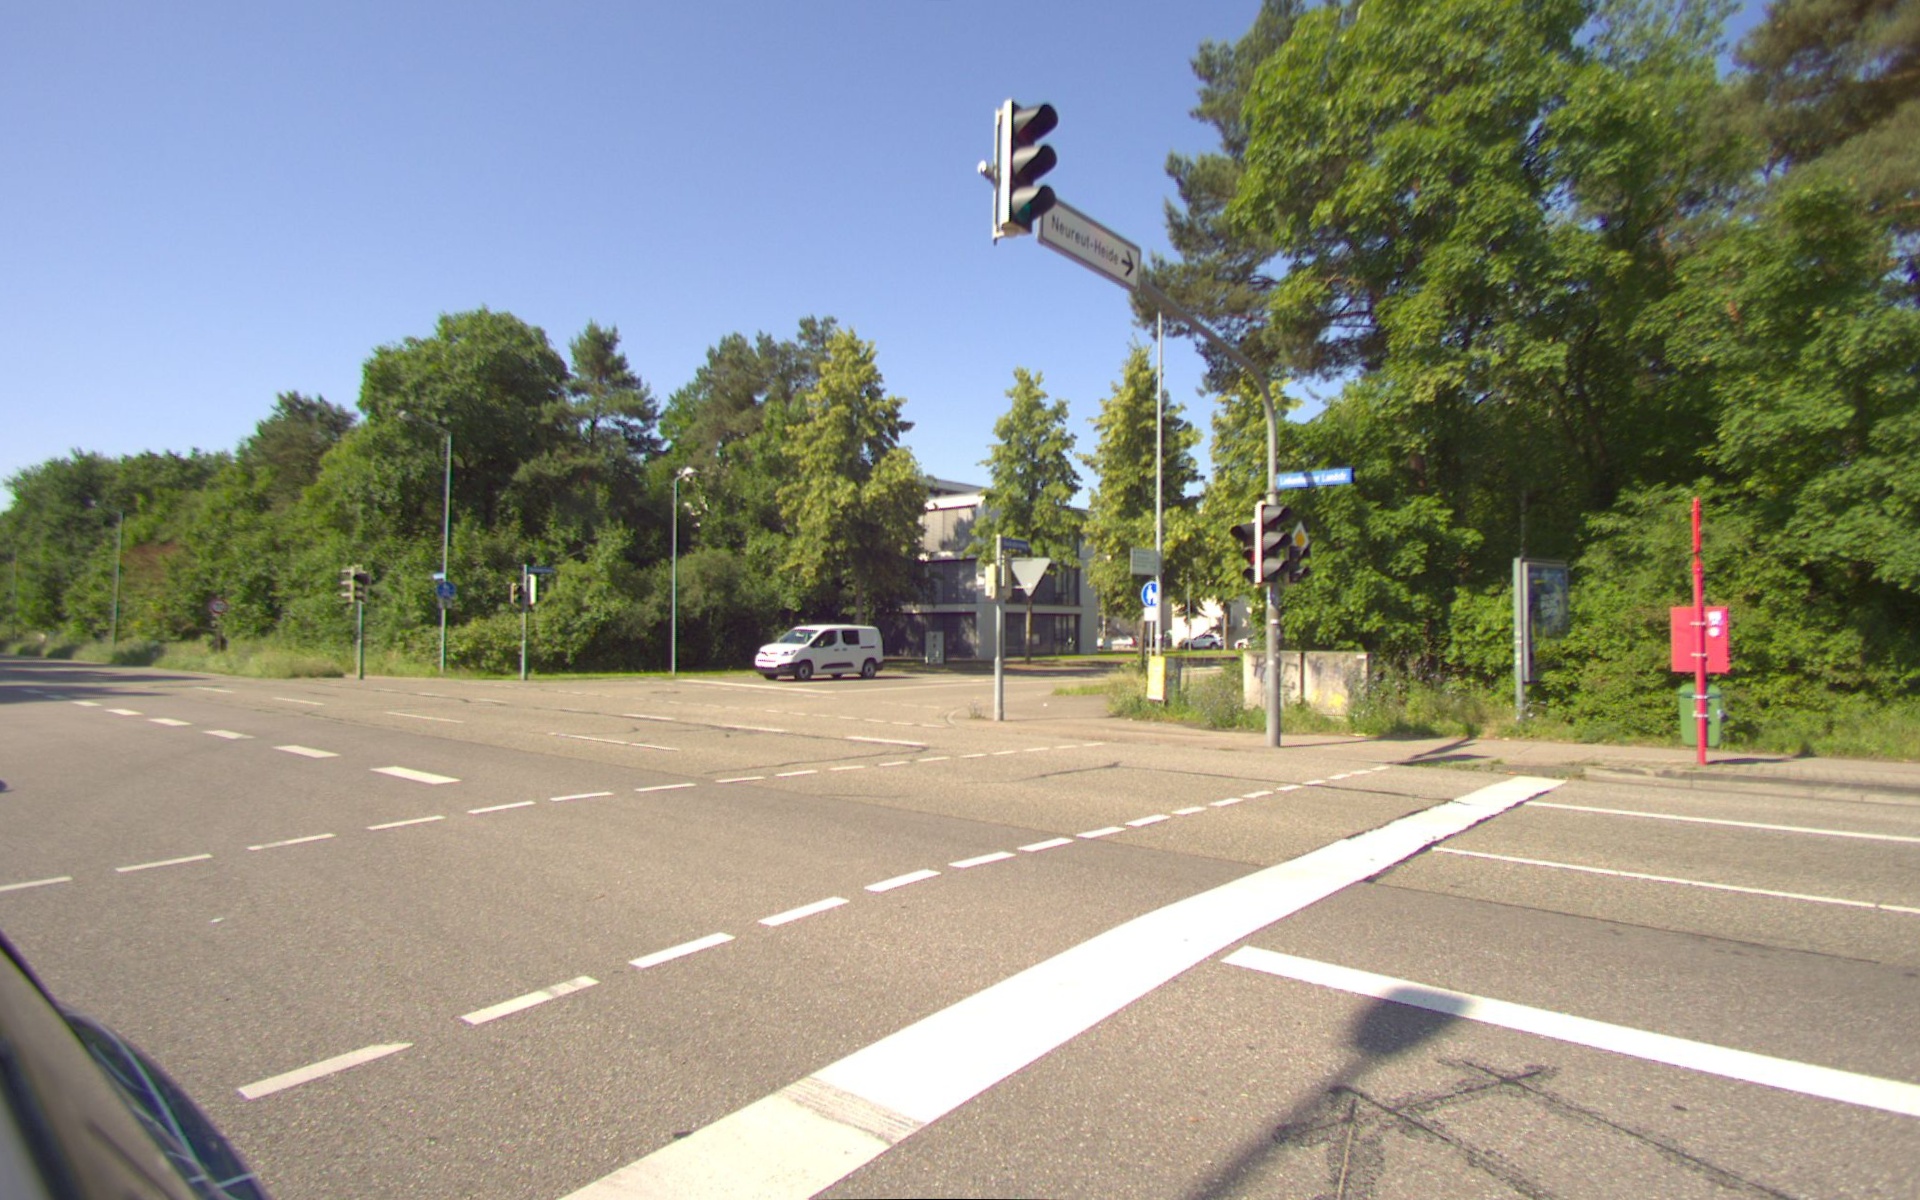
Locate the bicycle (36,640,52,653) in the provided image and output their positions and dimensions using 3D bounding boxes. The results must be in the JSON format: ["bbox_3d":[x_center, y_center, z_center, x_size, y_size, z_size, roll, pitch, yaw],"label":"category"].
[{"bbox_3d":[-67.060,3.409,74.064,2.137,0.965,0.598,-2,-3,41],"label":"bicycle"}]

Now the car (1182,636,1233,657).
[{"bbox_3d":[22.471,4.212,91.906,3.994,1.741,1.975,-1,0,38],"label":"car"}]

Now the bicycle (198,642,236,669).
[{"bbox_3d":[-33.164,2.474,45.160,2.369,1.172,0.725,-2,-2,38],"label":"bicycle"}]

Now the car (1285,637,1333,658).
[{"bbox_3d":[28.871,3.927,83.827,1.572,1.575,3.719,-1,0,-27],"label":"car"}]

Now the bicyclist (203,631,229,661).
[{"bbox_3d":[-33.180,2.048,45.130,0.882,1.321,0.714,-2,-2,37],"label":"bicyclist"}]

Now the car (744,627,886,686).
[{"bbox_3d":[-4.695,1.839,33.342,1.851,1.791,4.599,-1,-3,39],"label":"car"}]

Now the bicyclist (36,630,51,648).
[{"bbox_3d":[-67.050,2.854,74.045,0.726,1.273,0.693,-1,0,41],"label":"bicyclist"}]

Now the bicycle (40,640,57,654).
[{"bbox_3d":[-63.657,3.267,70.653,2.137,0.921,0.598,-2,-3,41],"label":"bicycle"}]

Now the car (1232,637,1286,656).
[{"bbox_3d":[26.028,4.039,88.125,1.749,1.497,4.280,-1,0,-41],"label":"car"}]

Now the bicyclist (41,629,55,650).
[{"bbox_3d":[-63.684,2.743,70.652,0.944,1.477,0.604,-1,0,41],"label":"bicyclist"}]
